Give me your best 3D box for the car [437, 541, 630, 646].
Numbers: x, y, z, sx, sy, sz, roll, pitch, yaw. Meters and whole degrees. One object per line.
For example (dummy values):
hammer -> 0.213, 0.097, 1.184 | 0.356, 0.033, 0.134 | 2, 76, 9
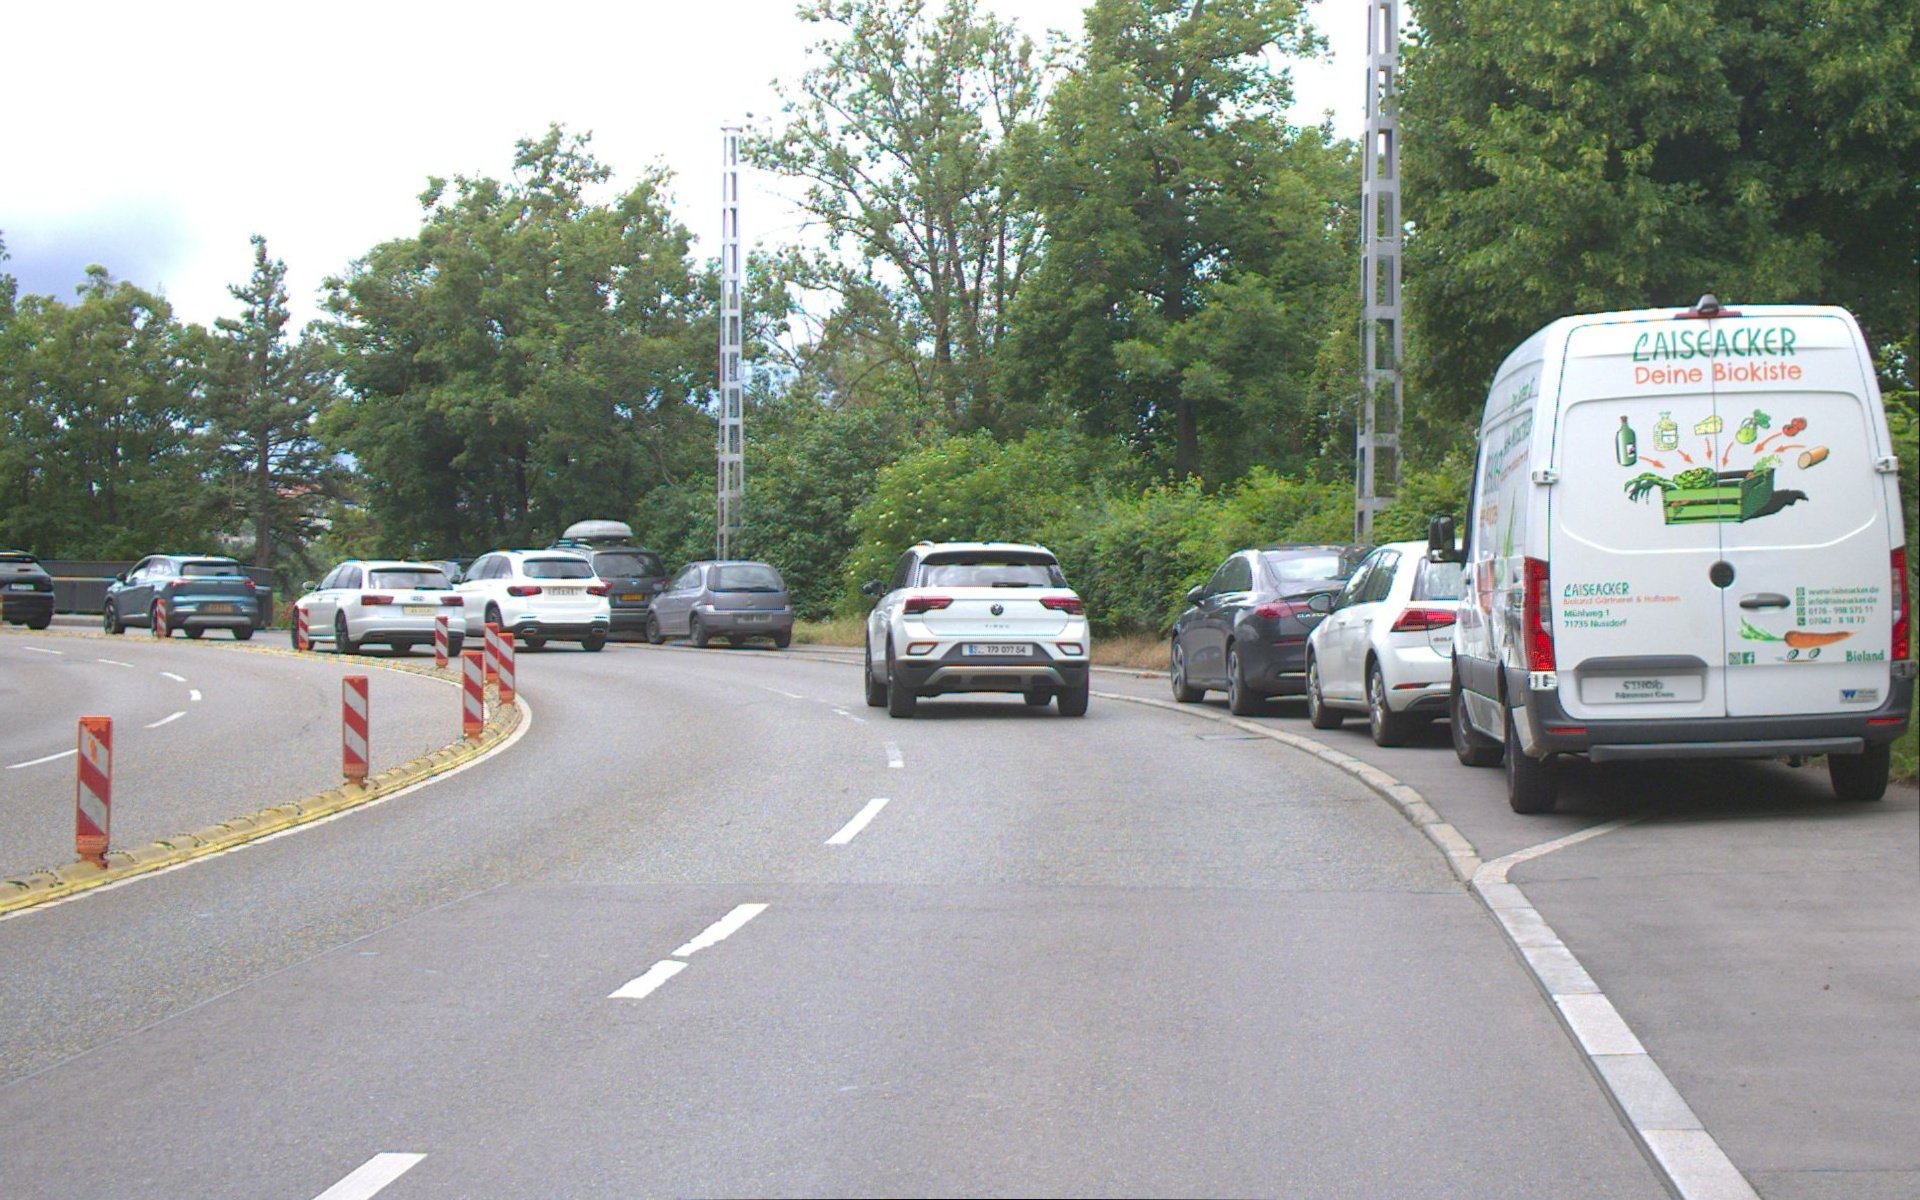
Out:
car -> -7.055, -0.108, 56.530 | 1.993, 1.581, 4.001 | 3, -1, -24

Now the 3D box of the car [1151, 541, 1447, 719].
car -> 2.925, 0.220, 30.635 | 1.700, 1.459, 4.665 | 0, 1, -6

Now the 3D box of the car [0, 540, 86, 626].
car -> -20.267, -0.385, 72.610 | 1.816, 1.684, 3.998 | 4, -1, -41

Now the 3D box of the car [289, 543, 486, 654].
car -> -8.943, -0.037, 53.424 | 1.906, 1.569, 4.001 | 3, -1, -26

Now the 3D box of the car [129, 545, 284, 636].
car -> -14.071, -0.178, 64.055 | 1.993, 1.536, 4.011 | 3, -1, -24

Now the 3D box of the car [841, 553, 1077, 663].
car -> -0.062, 0.091, 46.890 | 1.776, 1.413, 4.001 | -1, 1, -23

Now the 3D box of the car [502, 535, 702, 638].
car -> -6.584, -0.264, 62.782 | 1.798, 1.766, 4.607 | 2, 0, -31

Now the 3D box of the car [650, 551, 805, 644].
car -> -3.931, -0.044, 57.566 | 1.640, 1.459, 4.001 | 2, 0, -18

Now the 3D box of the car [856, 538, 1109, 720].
car -> 0.142, 0.231, 31.504 | 1.866, 1.531, 3.804 | 1, 0, -6

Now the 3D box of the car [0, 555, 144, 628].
car -> -20.642, -0.206, 78.856 | 3.531, 1.520, 1.696 | 2, -1, 32

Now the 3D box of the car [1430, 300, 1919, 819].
car -> 3.983, -0.223, 19.922 | 2.085, 2.515, 5.844 | -1, 0, 4

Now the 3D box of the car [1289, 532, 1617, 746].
car -> 3.582, 0.256, 25.593 | 1.700, 1.459, 3.835 | -1, 0, -3
